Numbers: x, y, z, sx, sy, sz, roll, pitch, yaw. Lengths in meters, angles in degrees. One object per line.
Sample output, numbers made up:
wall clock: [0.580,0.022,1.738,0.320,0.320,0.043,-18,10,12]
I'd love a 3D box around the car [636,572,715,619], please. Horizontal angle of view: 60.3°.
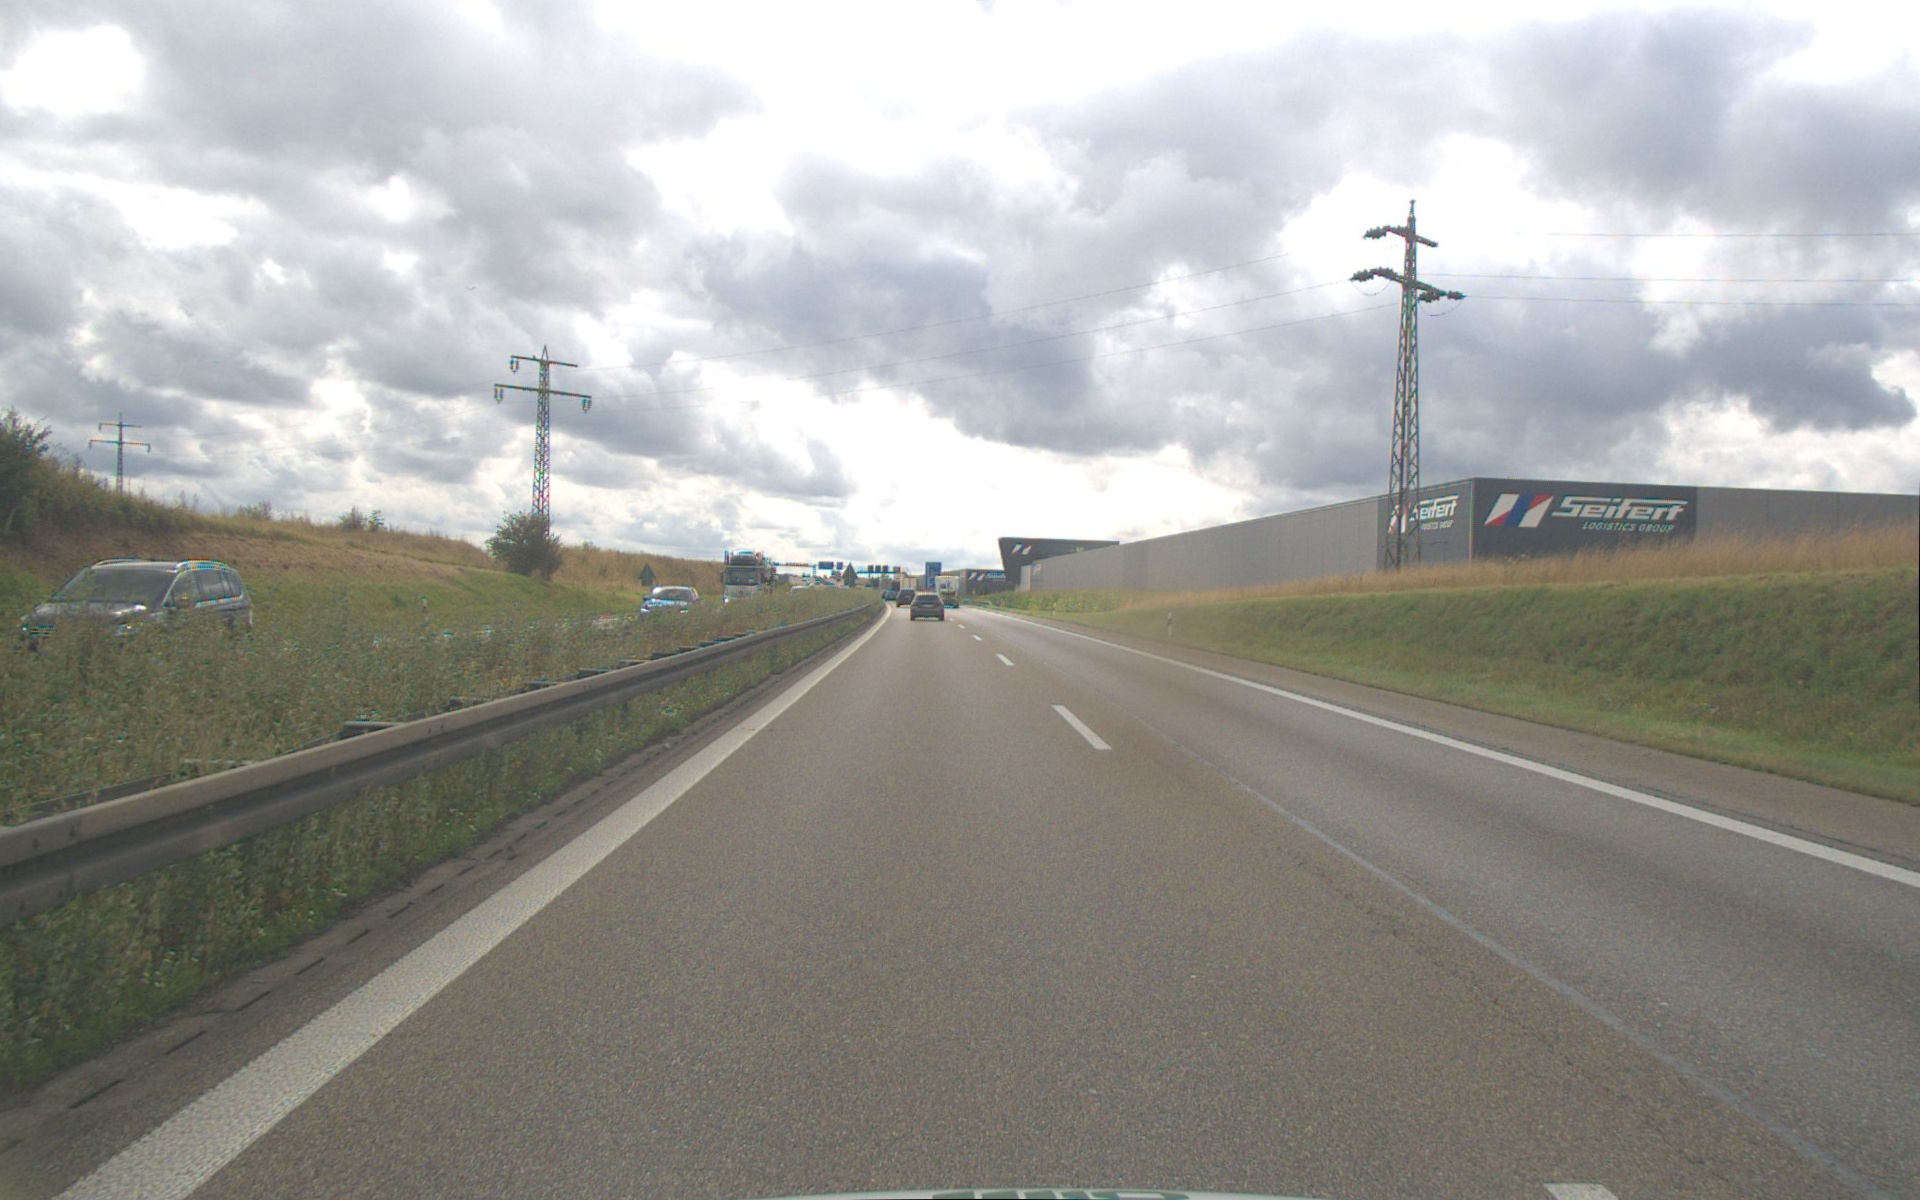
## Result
car: [-9.571,-0.149,55.930,1.953,1.482,4.442,1,0,-1]

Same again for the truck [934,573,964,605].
truck: [-1.086,-1.074,159.950,2.434,3.002,5.808,1,0,-6]

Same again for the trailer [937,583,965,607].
trailer: [-0.861,-0.444,153.019,2.292,2.173,3.997,1,0,-4]

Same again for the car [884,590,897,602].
car: [-10.430,-0.599,248.552,1.904,1.806,3.695,1,0,-2]

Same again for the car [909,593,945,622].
car: [-1.765,0.397,87.121,1.711,1.478,3.997,1,0,-3]

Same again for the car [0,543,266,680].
car: [-11.394,0.132,22.382,1.890,1.603,5.618,1,0,-3]

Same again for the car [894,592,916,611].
car: [-5.187,0.148,155.980,1.907,1.714,3.997,1,0,-3]

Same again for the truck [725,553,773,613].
truck: [-14.423,-1.137,113.539,2.668,4.005,5.985,0,0,-2]
